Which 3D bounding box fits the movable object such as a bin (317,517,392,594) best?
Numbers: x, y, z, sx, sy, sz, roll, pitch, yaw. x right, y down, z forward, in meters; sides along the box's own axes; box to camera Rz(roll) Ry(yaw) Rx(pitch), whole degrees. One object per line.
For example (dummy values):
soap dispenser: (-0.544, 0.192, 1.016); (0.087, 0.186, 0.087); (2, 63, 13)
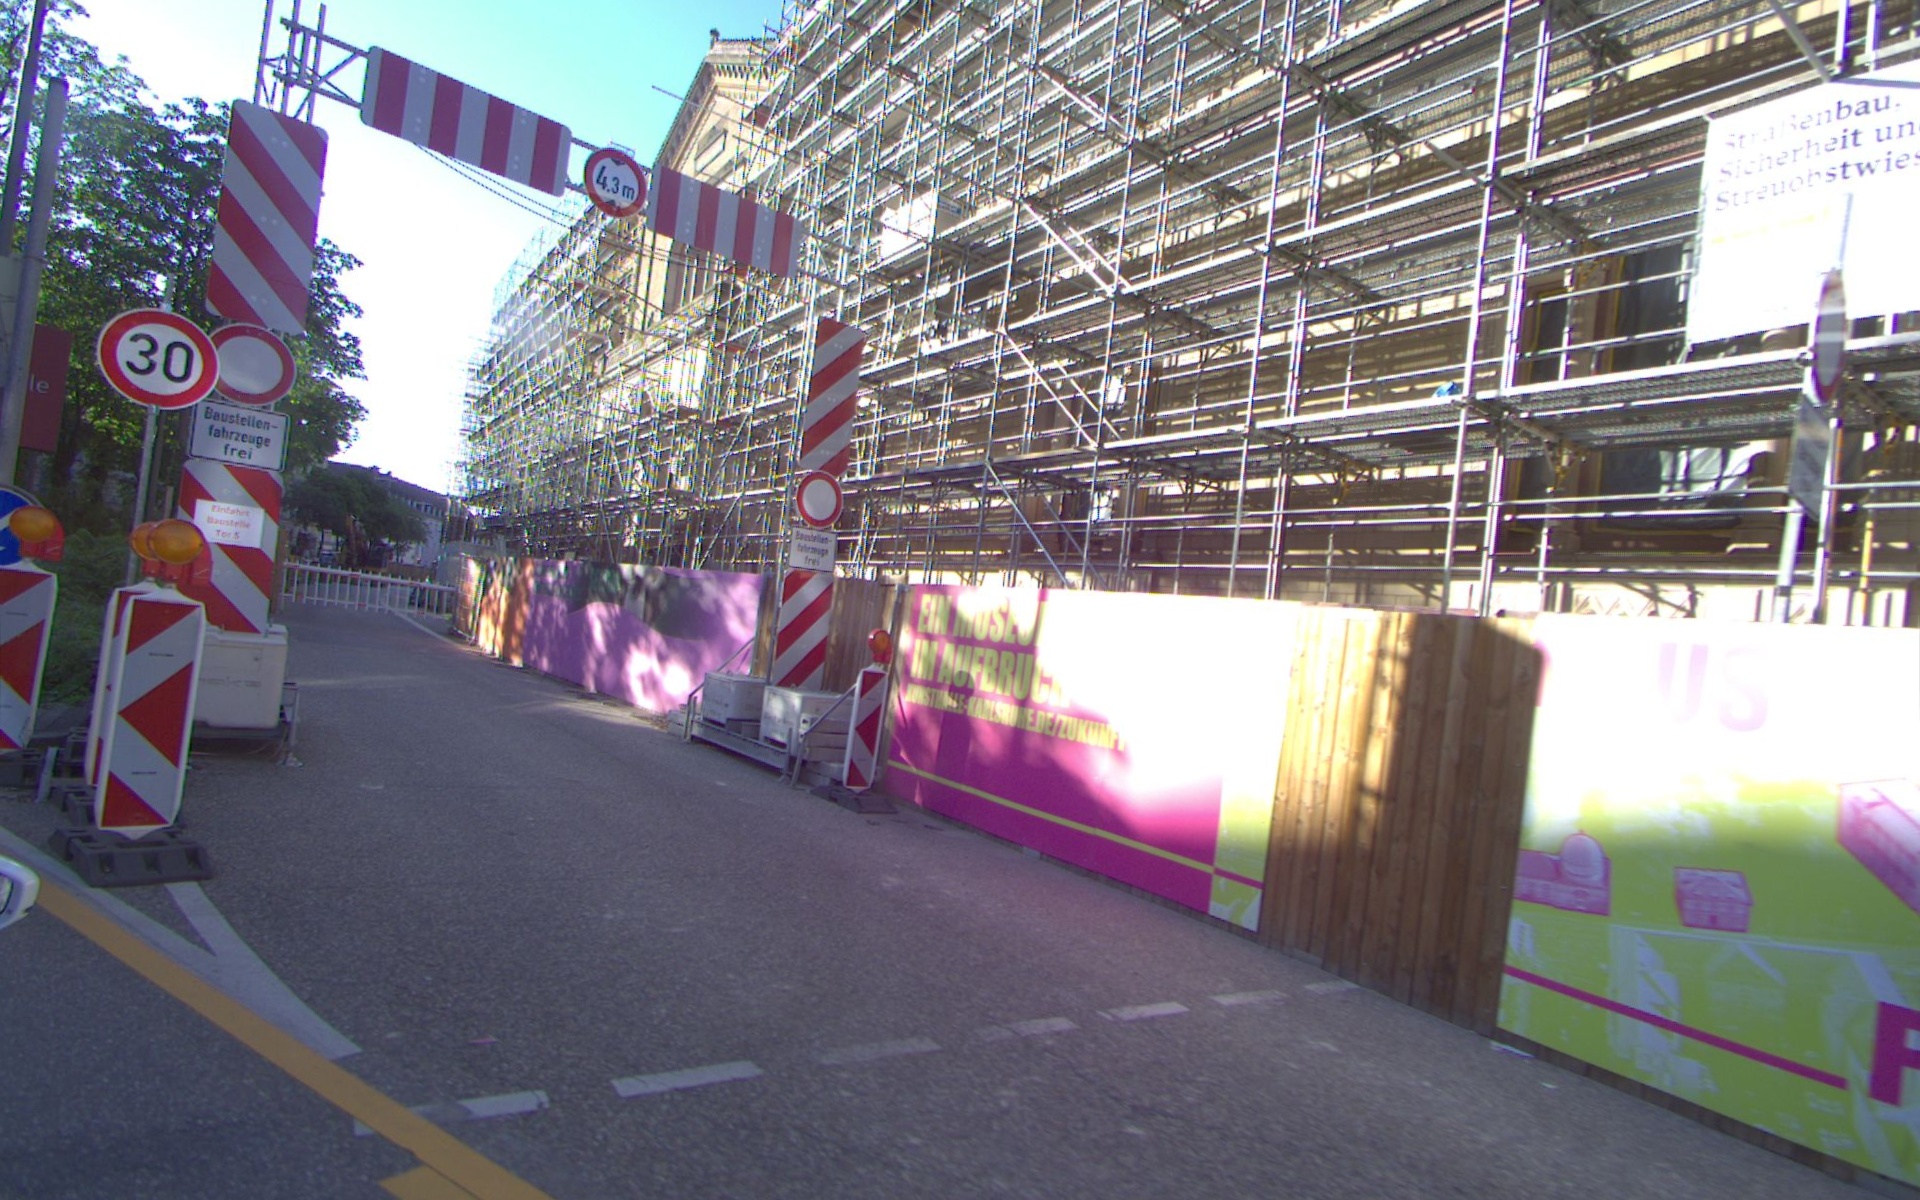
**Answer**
movable object such as a bin: (-41.521, -2.935, 69.254); (3.276, 4.593, 7.861); (6, -2, -25)
